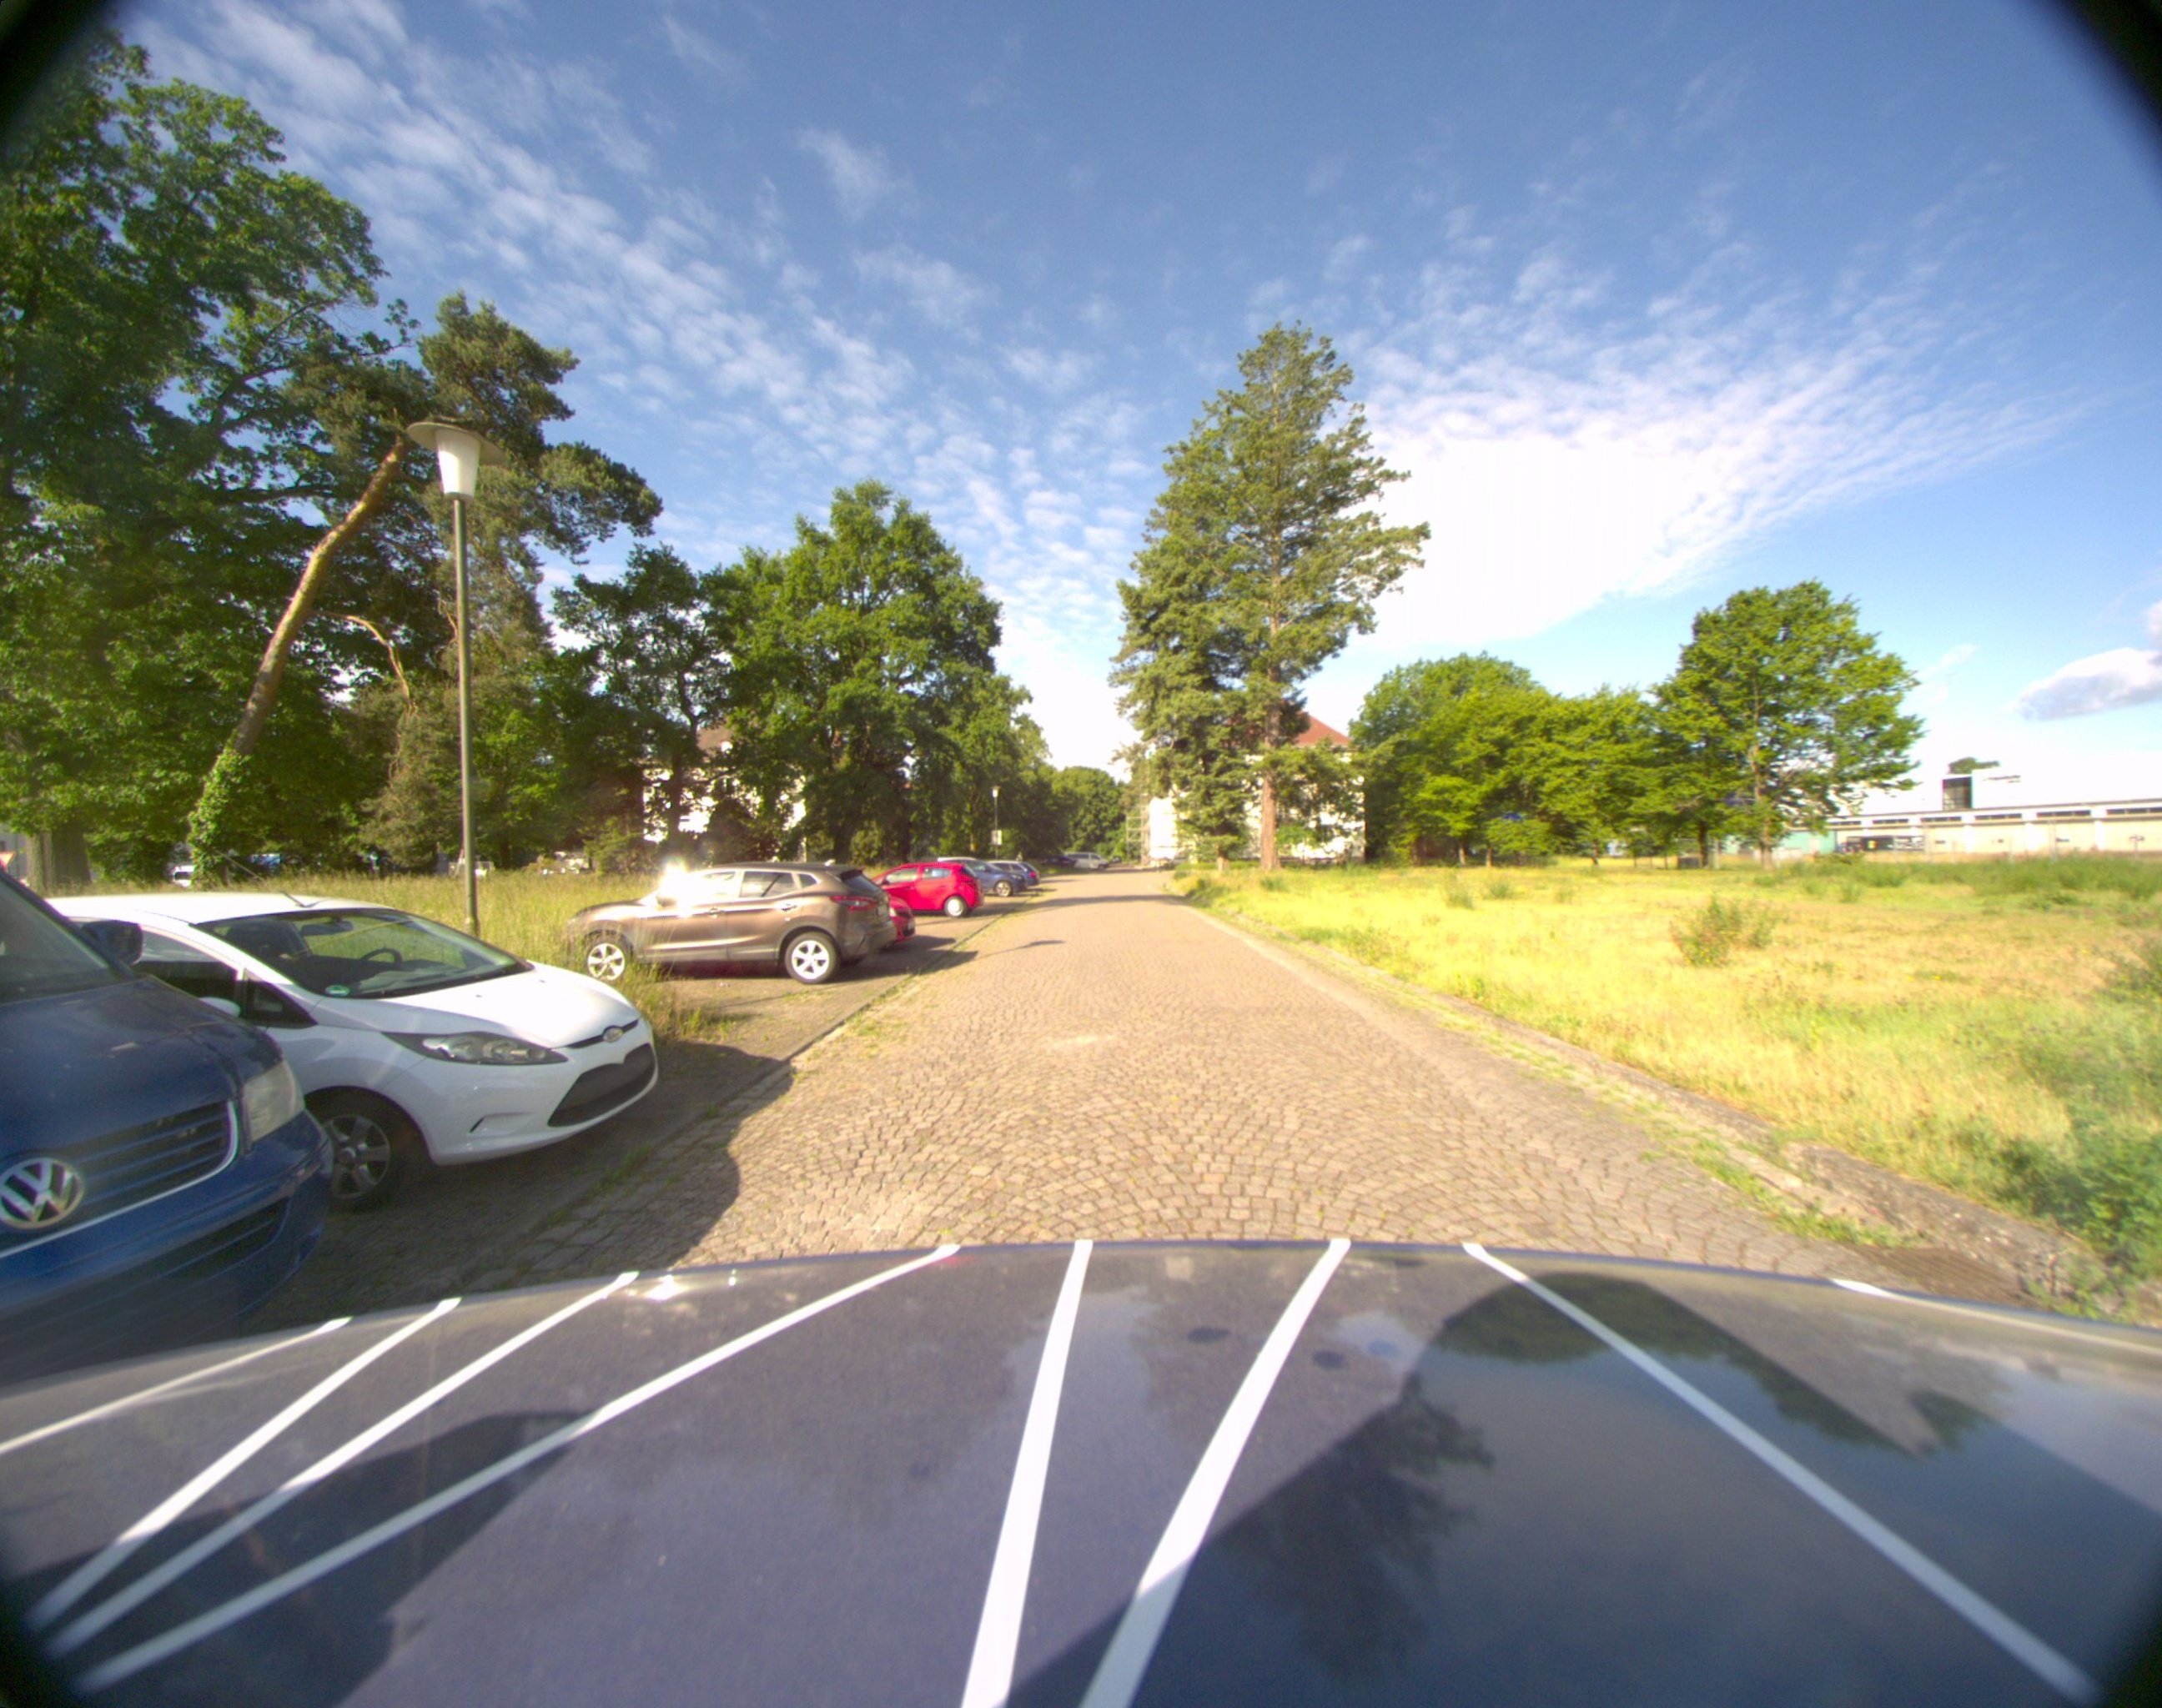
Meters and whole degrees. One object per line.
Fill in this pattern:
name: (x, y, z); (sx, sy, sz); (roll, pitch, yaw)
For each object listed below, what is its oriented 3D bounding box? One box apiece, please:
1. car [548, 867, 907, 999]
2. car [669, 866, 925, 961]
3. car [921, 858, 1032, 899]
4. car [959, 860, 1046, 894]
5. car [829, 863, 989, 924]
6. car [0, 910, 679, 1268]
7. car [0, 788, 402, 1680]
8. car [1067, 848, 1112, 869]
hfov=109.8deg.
car: (-4.694, 1.020, 10.557); (4.117, 1.601, 1.786); (-1, 0, 0)
car: (-4.859, 1.002, 13.370); (3.834, 1.530, 1.703); (0, 0, 2)
car: (-4.229, 0.986, 31.115); (4.273, 1.589, 1.651); (0, 0, 1)
car: (-3.666, 1.059, 35.882); (3.809, 1.458, 1.747); (-1, 0, 2)
car: (-4.633, 1.056, 20.832); (3.997, 1.486, 1.540); (-1, 0, 1)
car: (-4.500, 1.105, 4.161); (3.729, 1.458, 1.609); (0, 0, -1)
car: (-4.794, 0.819, 1.720); (4.765, 2.002, 2.000); (1, 0, 1)
car: (0.927, 0.497, 84.556); (4.993, 2.123, 2.164); (-1, 0, -1)
